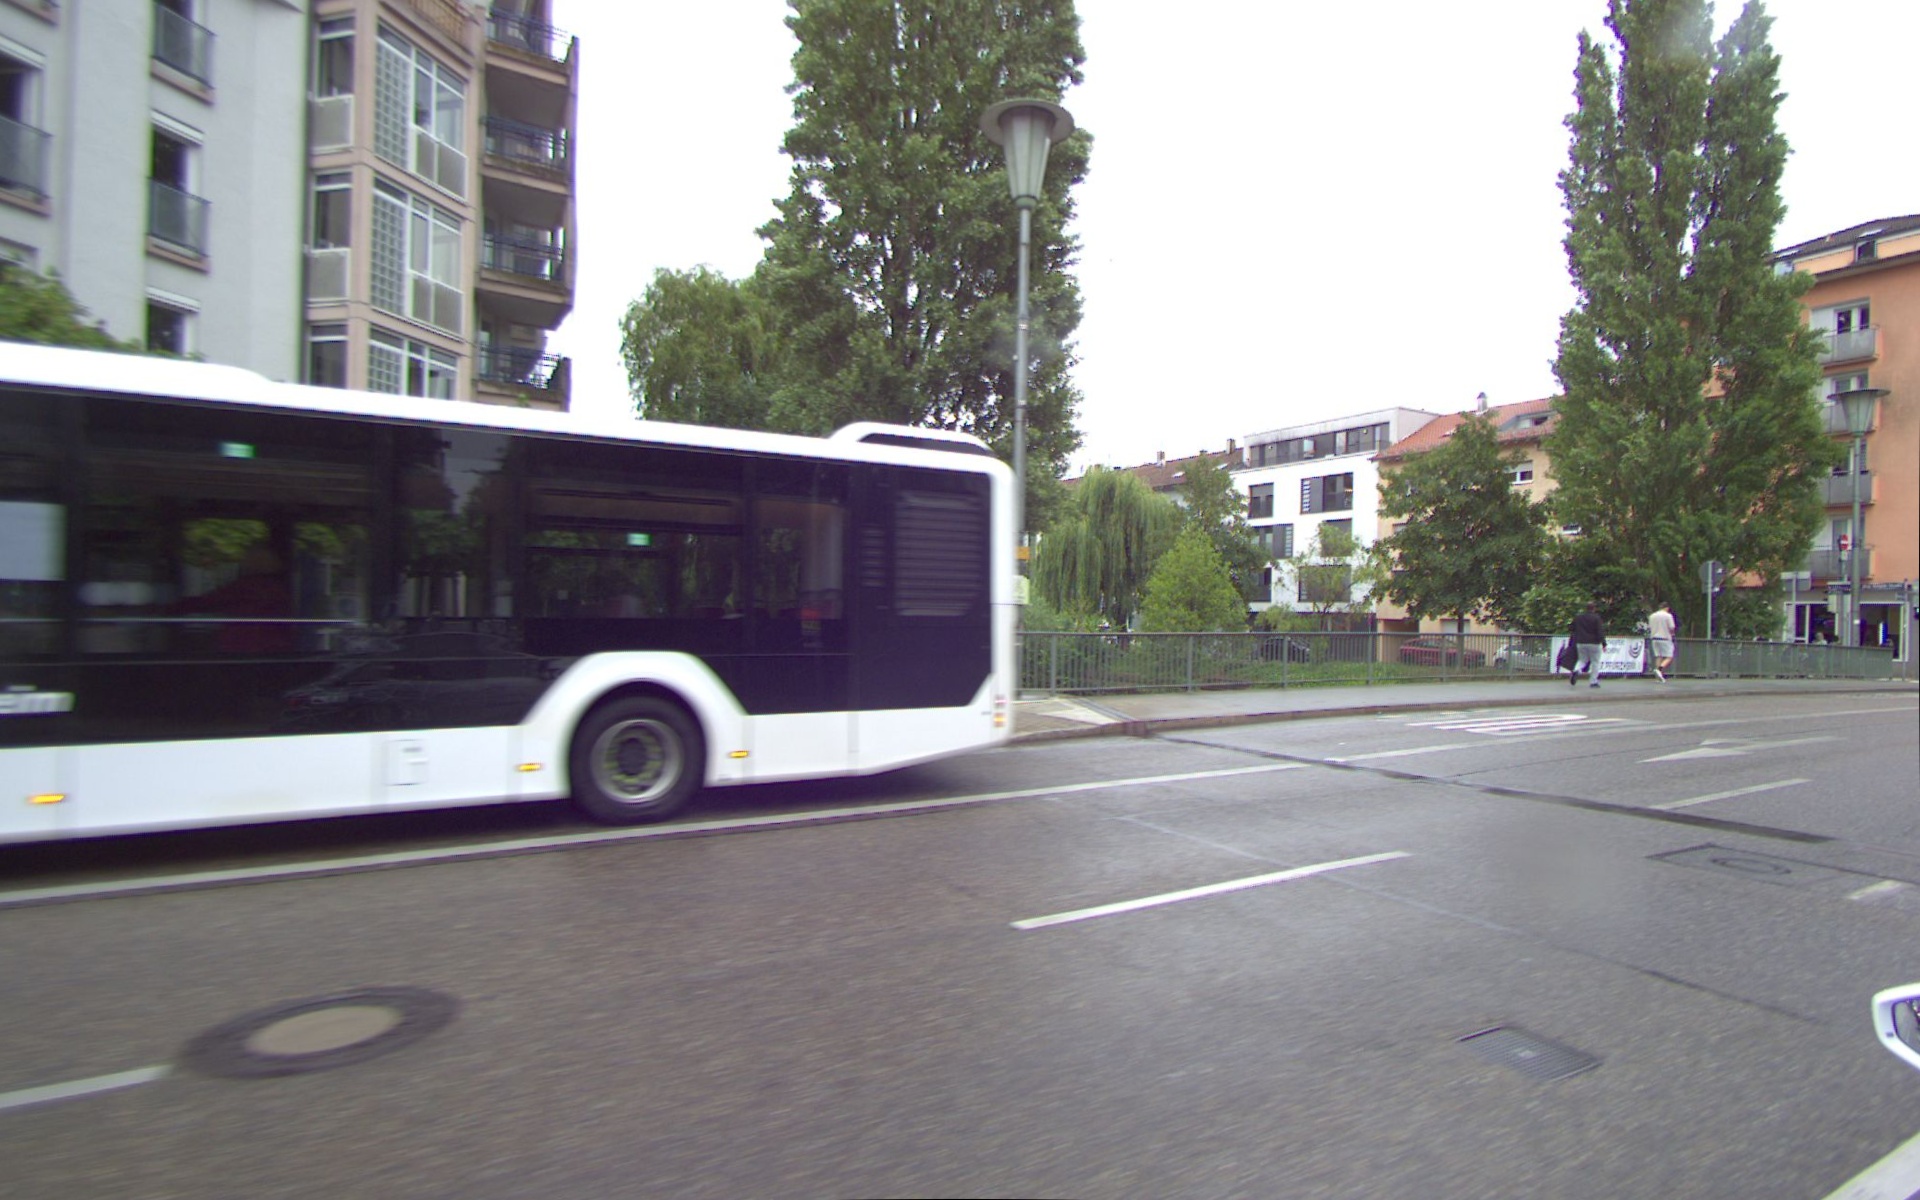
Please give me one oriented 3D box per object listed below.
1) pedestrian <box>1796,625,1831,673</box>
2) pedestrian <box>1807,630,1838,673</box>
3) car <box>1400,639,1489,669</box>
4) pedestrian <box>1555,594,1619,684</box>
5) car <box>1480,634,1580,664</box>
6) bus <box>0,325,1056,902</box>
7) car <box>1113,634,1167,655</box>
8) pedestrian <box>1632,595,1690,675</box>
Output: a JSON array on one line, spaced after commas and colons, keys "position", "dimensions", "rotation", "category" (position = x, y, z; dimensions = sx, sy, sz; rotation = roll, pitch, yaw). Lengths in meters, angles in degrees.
[{"position": [30.745, 1.768, 36.180], "dimensions": [0.609, 1.685, 0.800], "rotation": [2, -3, 5], "category": "pedestrian"}, {"position": [30.232, 1.803, 35.200], "dimensions": [0.792, 1.464, 0.648], "rotation": [4, -3, -35], "category": "pedestrian"}, {"position": [25.941, 2.891, 53.916], "dimensions": [1.876, 1.406, 3.970], "rotation": [2, -1, -28], "category": "car"}, {"position": [13.016, 0.798, 20.862], "dimensions": [0.946, 1.818, 0.695], "rotation": [2, 0, -27], "category": "pedestrian"}, {"position": [28.364, 2.439, 50.111], "dimensions": [1.876, 1.406, 3.971], "rotation": [2, -2, -28], "category": "car"}, {"position": [-5.050, 0.076, 7.079], "dimensions": [12.089, 3.117, 2.732], "rotation": [0, 0, -30], "category": "bus"}, {"position": [13.400, 3.318, 75.056], "dimensions": [1.876, 1.406, 3.970], "rotation": [2, 0, -28], "category": "car"}, {"position": [16.281, 0.799, 23.328], "dimensions": [0.802, 1.818, 0.794], "rotation": [2, 0, -27], "category": "pedestrian"}]
